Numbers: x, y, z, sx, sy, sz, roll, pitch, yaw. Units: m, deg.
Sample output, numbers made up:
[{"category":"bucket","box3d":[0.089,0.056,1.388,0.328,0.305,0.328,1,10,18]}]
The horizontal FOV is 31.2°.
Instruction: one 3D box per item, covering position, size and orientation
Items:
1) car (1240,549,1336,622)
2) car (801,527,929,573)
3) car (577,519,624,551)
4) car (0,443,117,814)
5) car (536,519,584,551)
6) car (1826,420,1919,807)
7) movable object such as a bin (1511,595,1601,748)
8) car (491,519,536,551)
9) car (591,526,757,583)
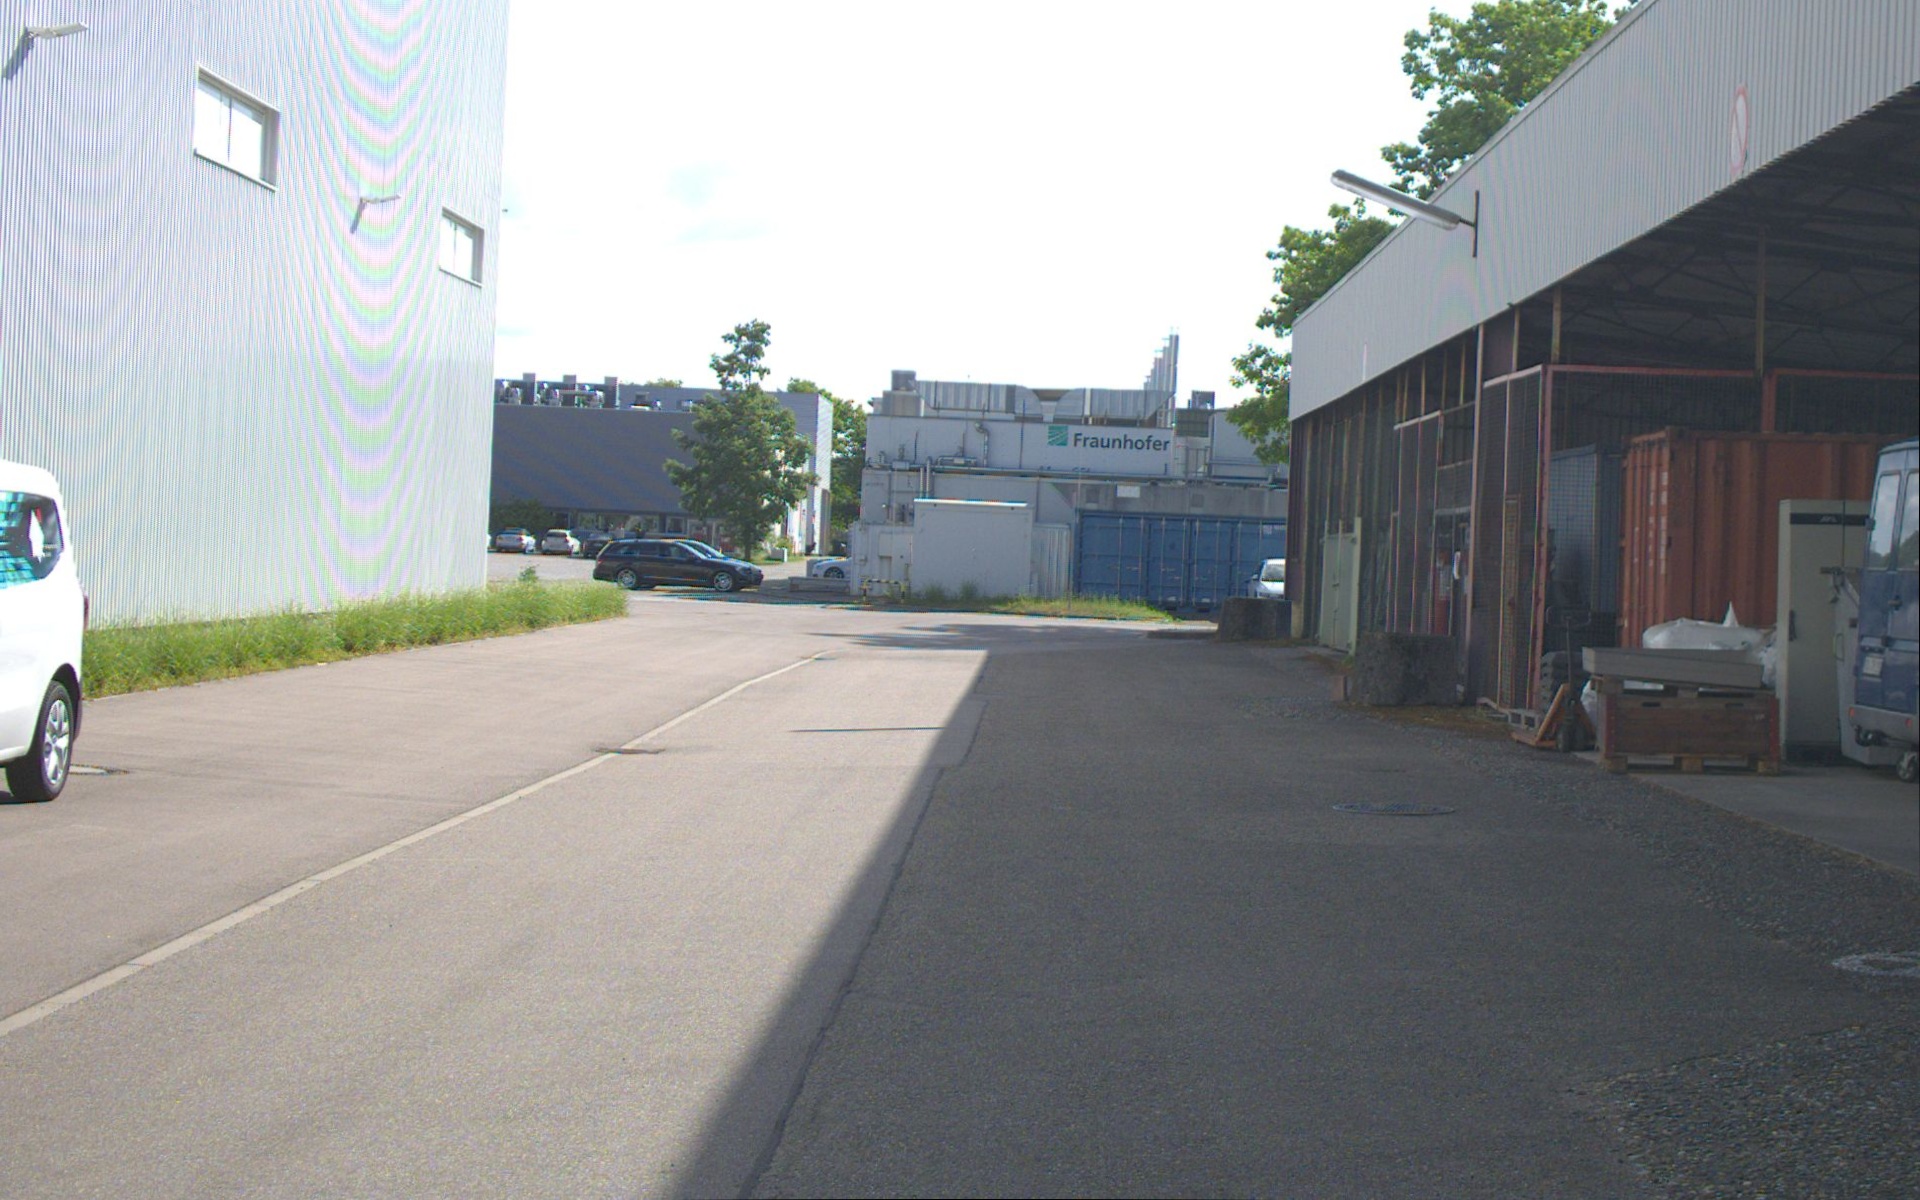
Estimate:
[{"category":"car","box3d":[8.155,-0.384,85.741,1.993,1.580,4.173,2,2,1]},{"category":"car","box3d":[-3.482,-1.848,126.399,4.526,1.503,1.909,2,1,2]},{"category":"car","box3d":[-20.337,-3.686,194.669,2.193,1.730,4.000,1,1,1]},{"category":"car","box3d":[-5.651,0.083,16.654,1.890,1.839,4.358,4,1,1]},{"category":"car","box3d":[-22.858,-3.704,196.446,2.193,1.730,4.000,1,1,1]},{"category":"car","box3d":[8.191,0.149,21.528,4.979,2.317,2.000,2,1,2]},{"category":"movable object such as a bin","box3d":[4.724,0.552,27.306,0.582,1.160,1.238,2,1,5]},{"category":"car","box3d":[-25.451,-3.704,196.170,1.993,1.730,4.000,1,1,1]},{"category":"car","box3d":[-8.209,-1.318,98.919,4.526,1.503,1.909,2,1,3]}]
